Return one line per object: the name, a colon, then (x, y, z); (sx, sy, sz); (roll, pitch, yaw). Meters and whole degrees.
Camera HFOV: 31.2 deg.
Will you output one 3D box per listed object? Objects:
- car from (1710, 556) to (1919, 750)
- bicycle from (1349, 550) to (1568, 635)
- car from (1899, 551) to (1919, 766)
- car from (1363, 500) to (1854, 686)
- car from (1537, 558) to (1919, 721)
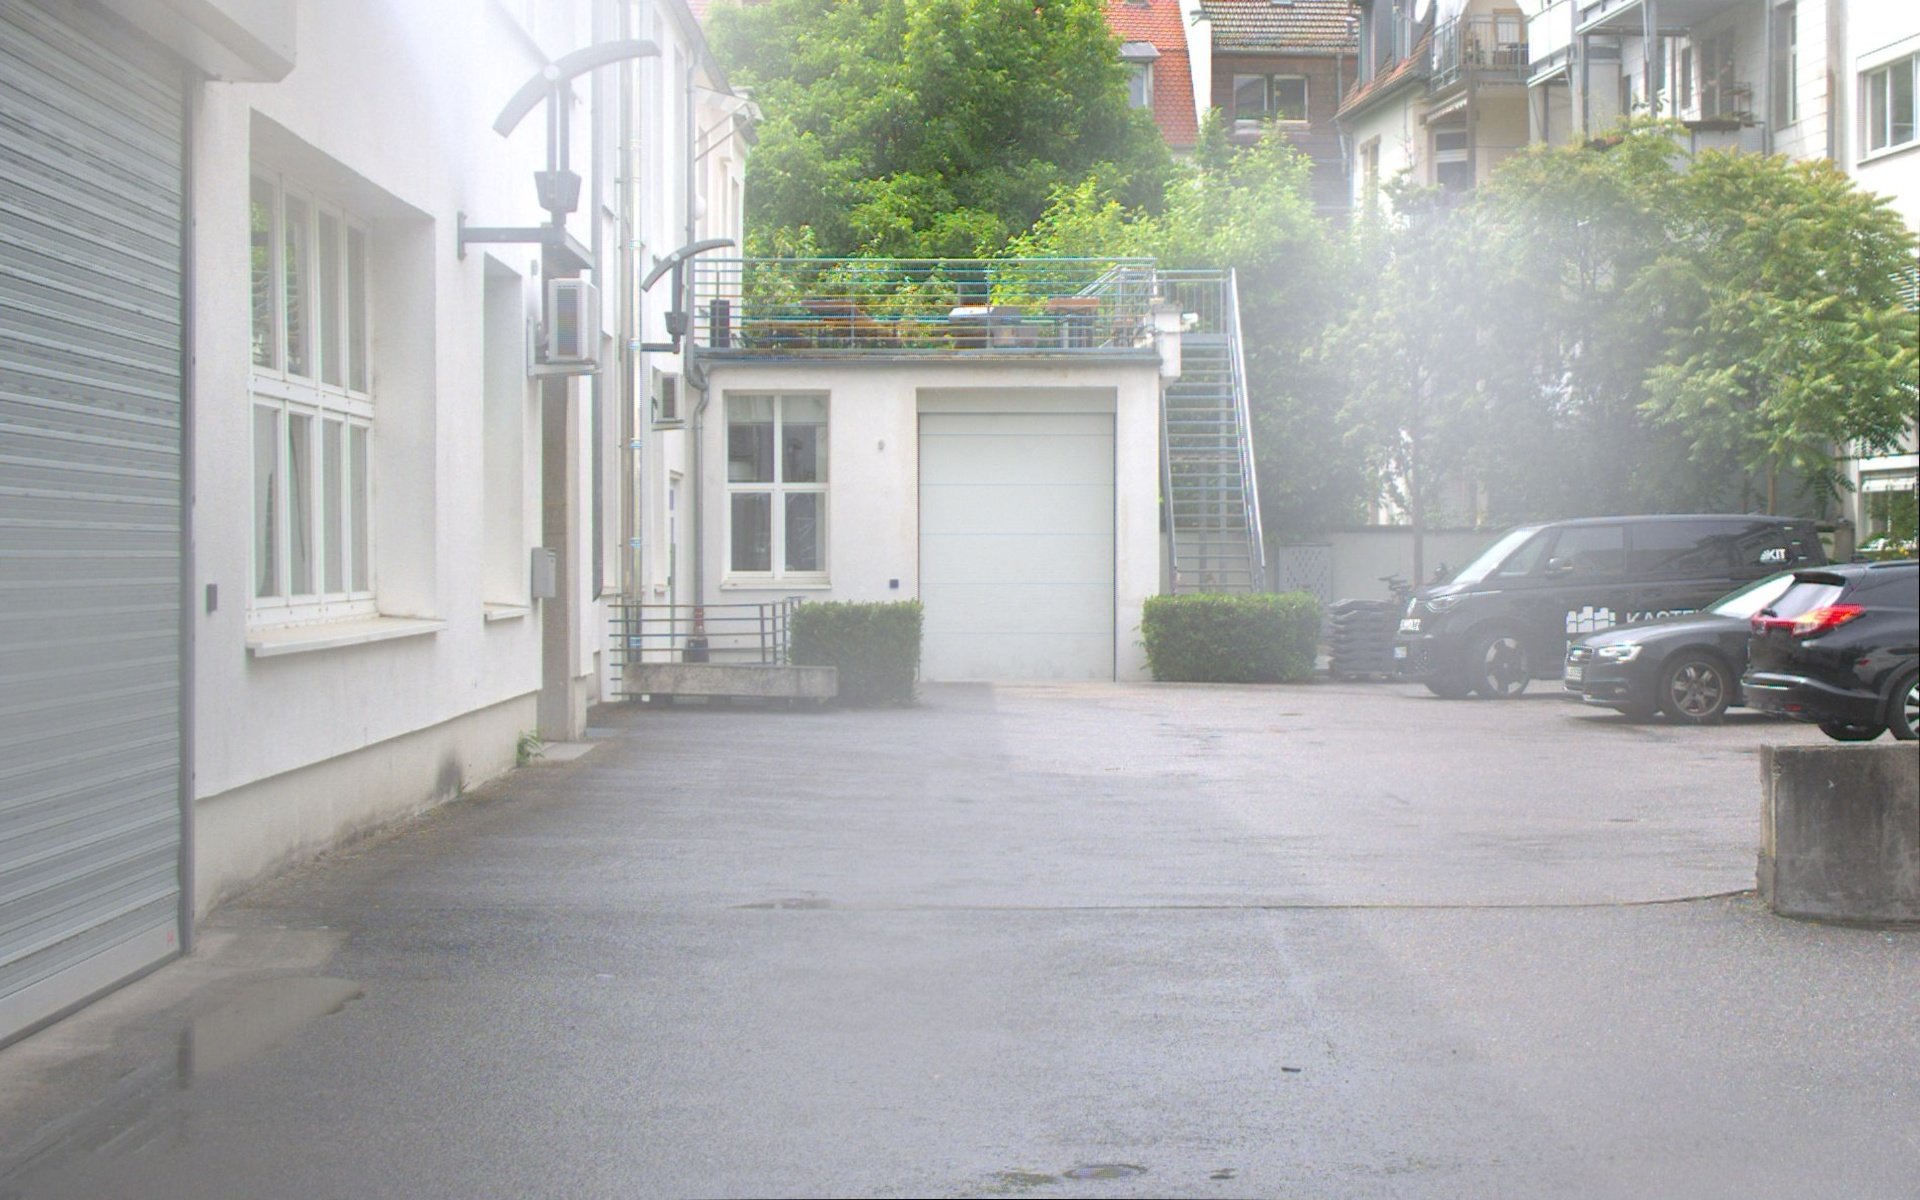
car: (8.083, 0.350, 26.287); (4.169, 1.396, 1.940); (-1, 0, -7)
bicycle: (6.759, -0.107, 46.690); (2.843, 1.074, 0.689); (1, 2, -3)
car: (8.558, 0.362, 22.788); (4.097, 1.450, 1.833); (-1, 1, -4)
car: (6.877, -0.099, 36.738); (4.708, 1.827, 2.111); (-1, 1, -6)
car: (7.580, 0.324, 30.927); (4.352, 1.344, 1.861); (-1, 1, -7)
